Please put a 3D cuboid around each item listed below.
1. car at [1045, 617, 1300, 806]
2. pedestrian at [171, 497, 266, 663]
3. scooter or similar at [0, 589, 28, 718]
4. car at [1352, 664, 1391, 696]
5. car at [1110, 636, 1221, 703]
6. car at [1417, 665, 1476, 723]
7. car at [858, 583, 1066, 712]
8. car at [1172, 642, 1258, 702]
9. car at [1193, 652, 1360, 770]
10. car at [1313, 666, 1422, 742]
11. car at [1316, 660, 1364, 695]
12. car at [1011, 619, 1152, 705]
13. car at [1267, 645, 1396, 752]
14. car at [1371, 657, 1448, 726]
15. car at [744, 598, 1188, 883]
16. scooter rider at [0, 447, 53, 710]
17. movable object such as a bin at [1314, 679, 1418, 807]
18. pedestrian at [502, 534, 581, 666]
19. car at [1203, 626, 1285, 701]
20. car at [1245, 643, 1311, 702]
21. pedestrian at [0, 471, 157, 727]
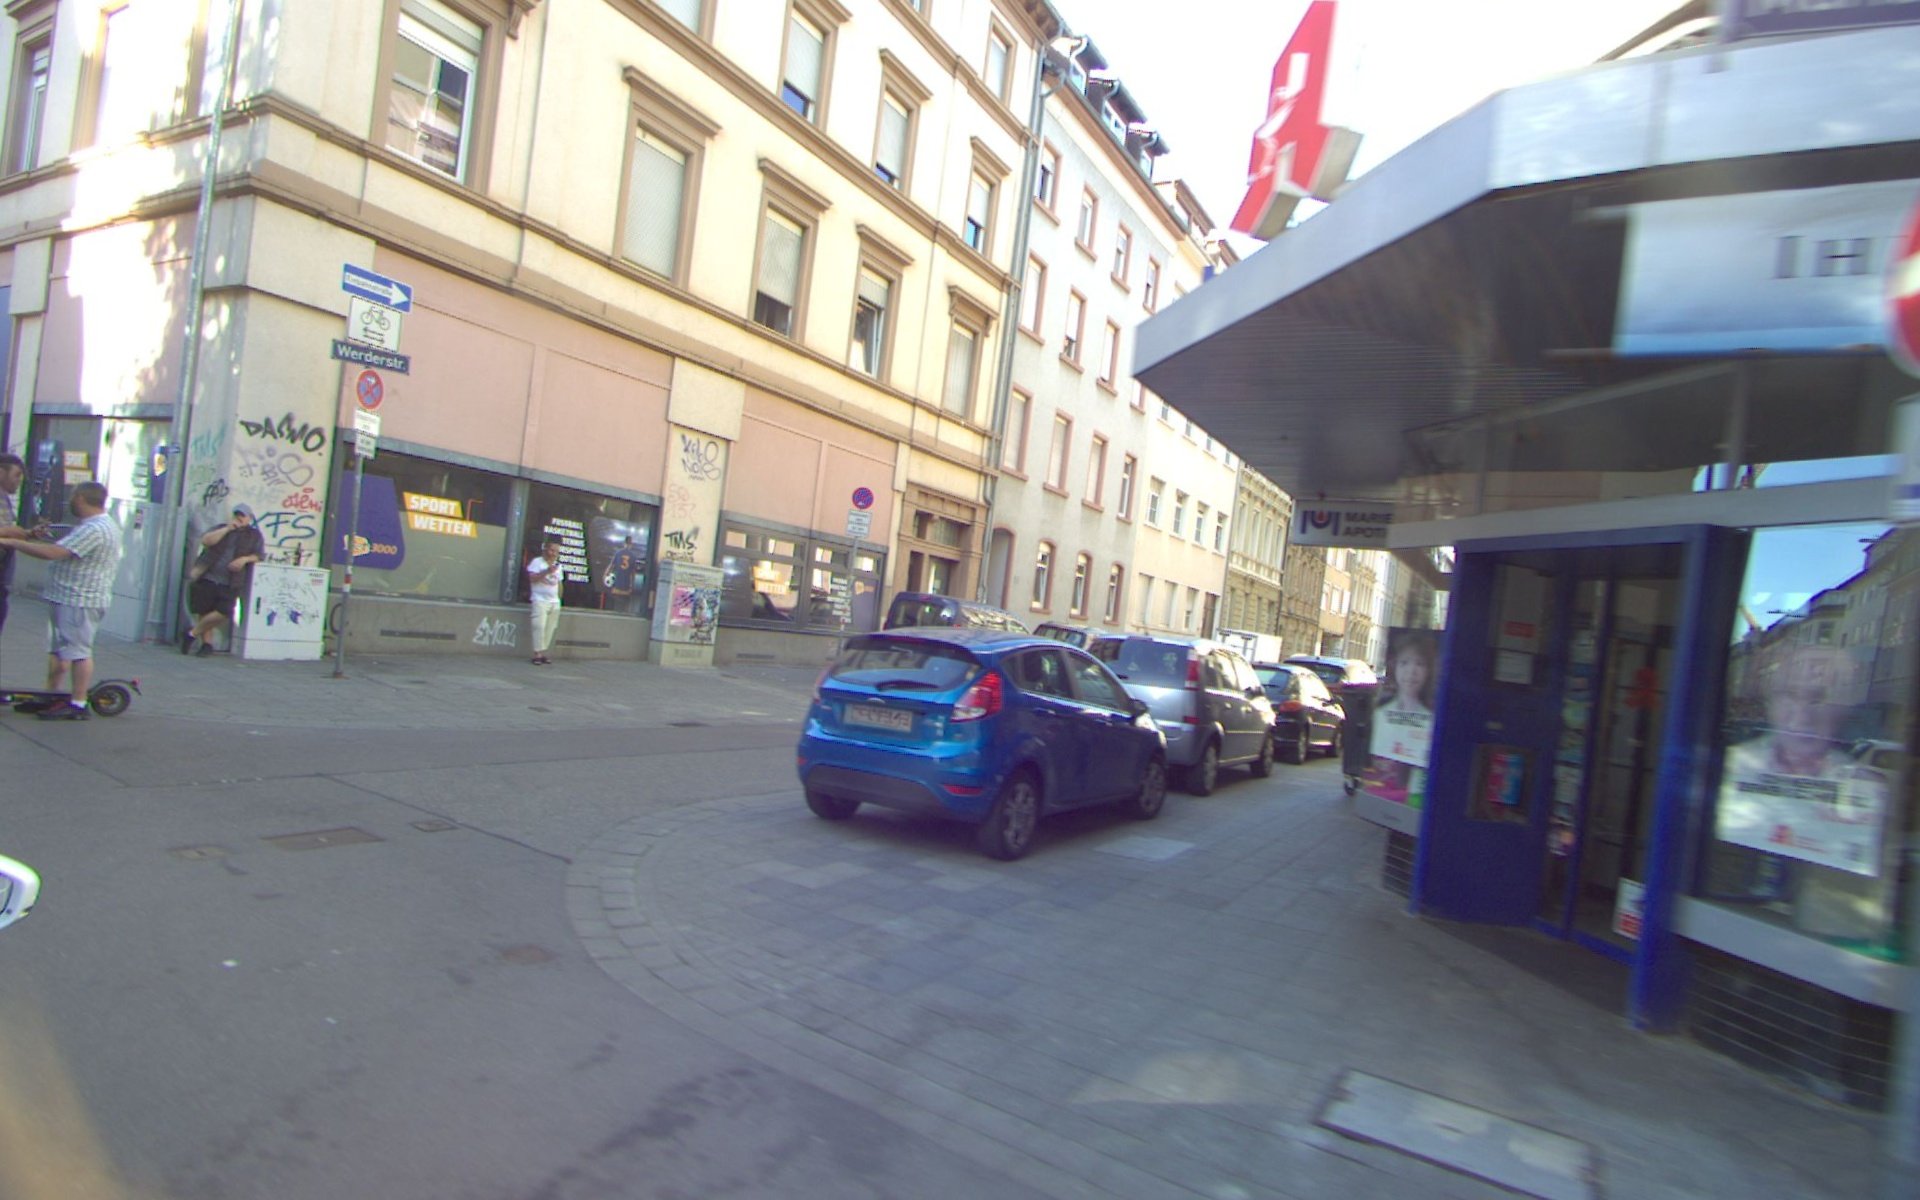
[{"bbox_3d":[2.611,1.228,11.665,1.603,1.649,3.740,7,-1,31],"label":"car"},{"bbox_3d":[-7.883,-0.215,10.717,0.594,1.671,0.461,7,2,-28],"label":"pedestrian"},{"bbox_3d":[-6.861,0.326,6.899,0.910,0.838,0.394,6,-1,32],"label":"scooter or similar"},{"bbox_3d":[26.723,5.190,65.247,1.705,1.774,3.269,7,-1,31],"label":"car"},{"bbox_3d":[5.677,1.921,27.445,1.560,1.541,4.046,6,-1,31],"label":"car"},{"bbox_3d":[19.935,3.868,41.129,1.703,2.055,4.194,6,-2,30],"label":"car"},{"bbox_3d":[0.156,0.909,18.446,1.837,1.863,3.931,10,1,31],"label":"car"},{"bbox_3d":[8.171,2.319,32.044,1.560,1.625,3.579,6,-1,31],"label":"car"},{"bbox_3d":[5.155,1.718,16.064,1.533,1.472,3.983,6,-1,31],"label":"car"},{"bbox_3d":[10.466,2.655,25.681,1.966,1.543,3.636,6,-2,30],"label":"car"},{"bbox_3d":[20.136,4.126,53.262,1.705,1.522,3.269,7,-1,31],"label":"car"},{"bbox_3d":[2.842,1.431,22.753,1.560,1.631,3.935,6,-1,31],"label":"car"},{"bbox_3d":[7.414,1.910,19.866,1.533,1.738,3.983,6,-1,31],"label":"car"},{"bbox_3d":[14.642,2.977,32.653,1.703,1.893,3.940,6,-2,30],"label":"car"},{"bbox_3d":[0.283,0.954,7.847,1.759,1.504,3.579,7,-1,31],"label":"car"},{"bbox_3d":[-6.847,-0.162,6.929,0.558,1.799,0.608,7,-1,-24],"label":"scooter rider"},{"bbox_3d":[4.702,1.621,11.622,0.848,1.298,1.019,5,-2,32],"label":"movable object such as a bin"},{"bbox_3d":[-5.832,0.009,14.037,0.467,1.746,0.692,6,-1,30],"label":"pedestrian"},{"bbox_3d":[10.346,2.331,36.458,1.806,2.409,3.420,6,-1,31],"label":"car"},{"bbox_3d":[13.134,2.994,41.454,1.705,2.167,3.269,6,-1,31],"label":"car"},{"bbox_3d":[-6.139,0.002,6.992,0.520,1.658,0.564,7,-1,-14],"label":"pedestrian"}]
